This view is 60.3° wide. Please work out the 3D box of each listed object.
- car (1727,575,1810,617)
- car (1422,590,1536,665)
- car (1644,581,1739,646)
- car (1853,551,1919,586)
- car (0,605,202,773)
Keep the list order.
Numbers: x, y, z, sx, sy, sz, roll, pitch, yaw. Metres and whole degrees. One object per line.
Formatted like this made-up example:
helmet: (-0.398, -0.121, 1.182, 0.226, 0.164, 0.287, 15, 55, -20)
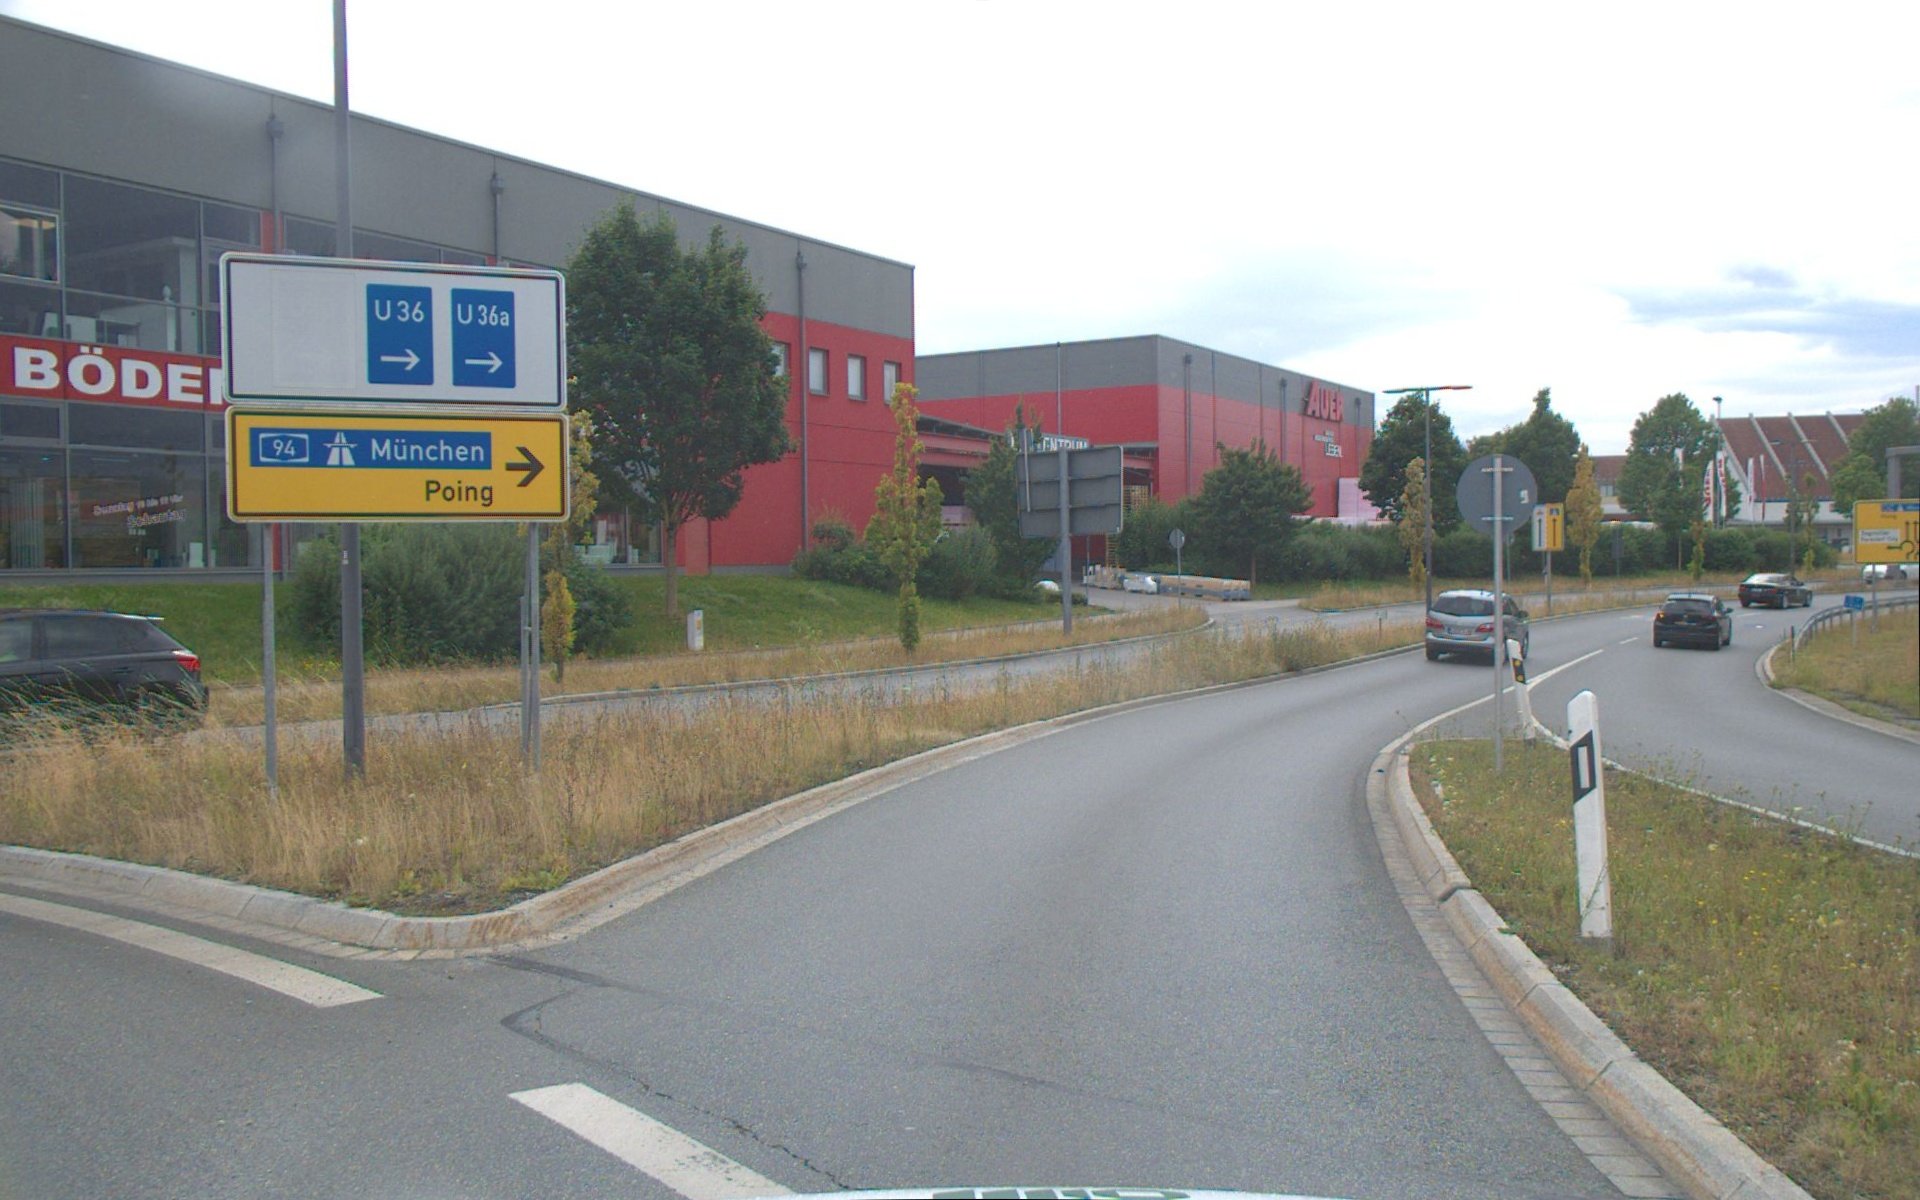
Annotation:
car: (32.602, -0.179, 66.655, 1.881, 1.646, 3.971, 1, 1, 45)
car: (12.126, 0.589, 38.519, 1.734, 1.645, 3.914, 0, 1, 30)
car: (20.303, 0.339, 45.855, 1.836, 1.633, 3.725, 3, 2, 32)
car: (49.644, -1.654, 87.192, 4.554, 1.654, 1.905, 0, 4, -20)
car: (-9.328, 0.823, 15.485, 1.615, 1.484, 3.749, 0, 1, 39)
